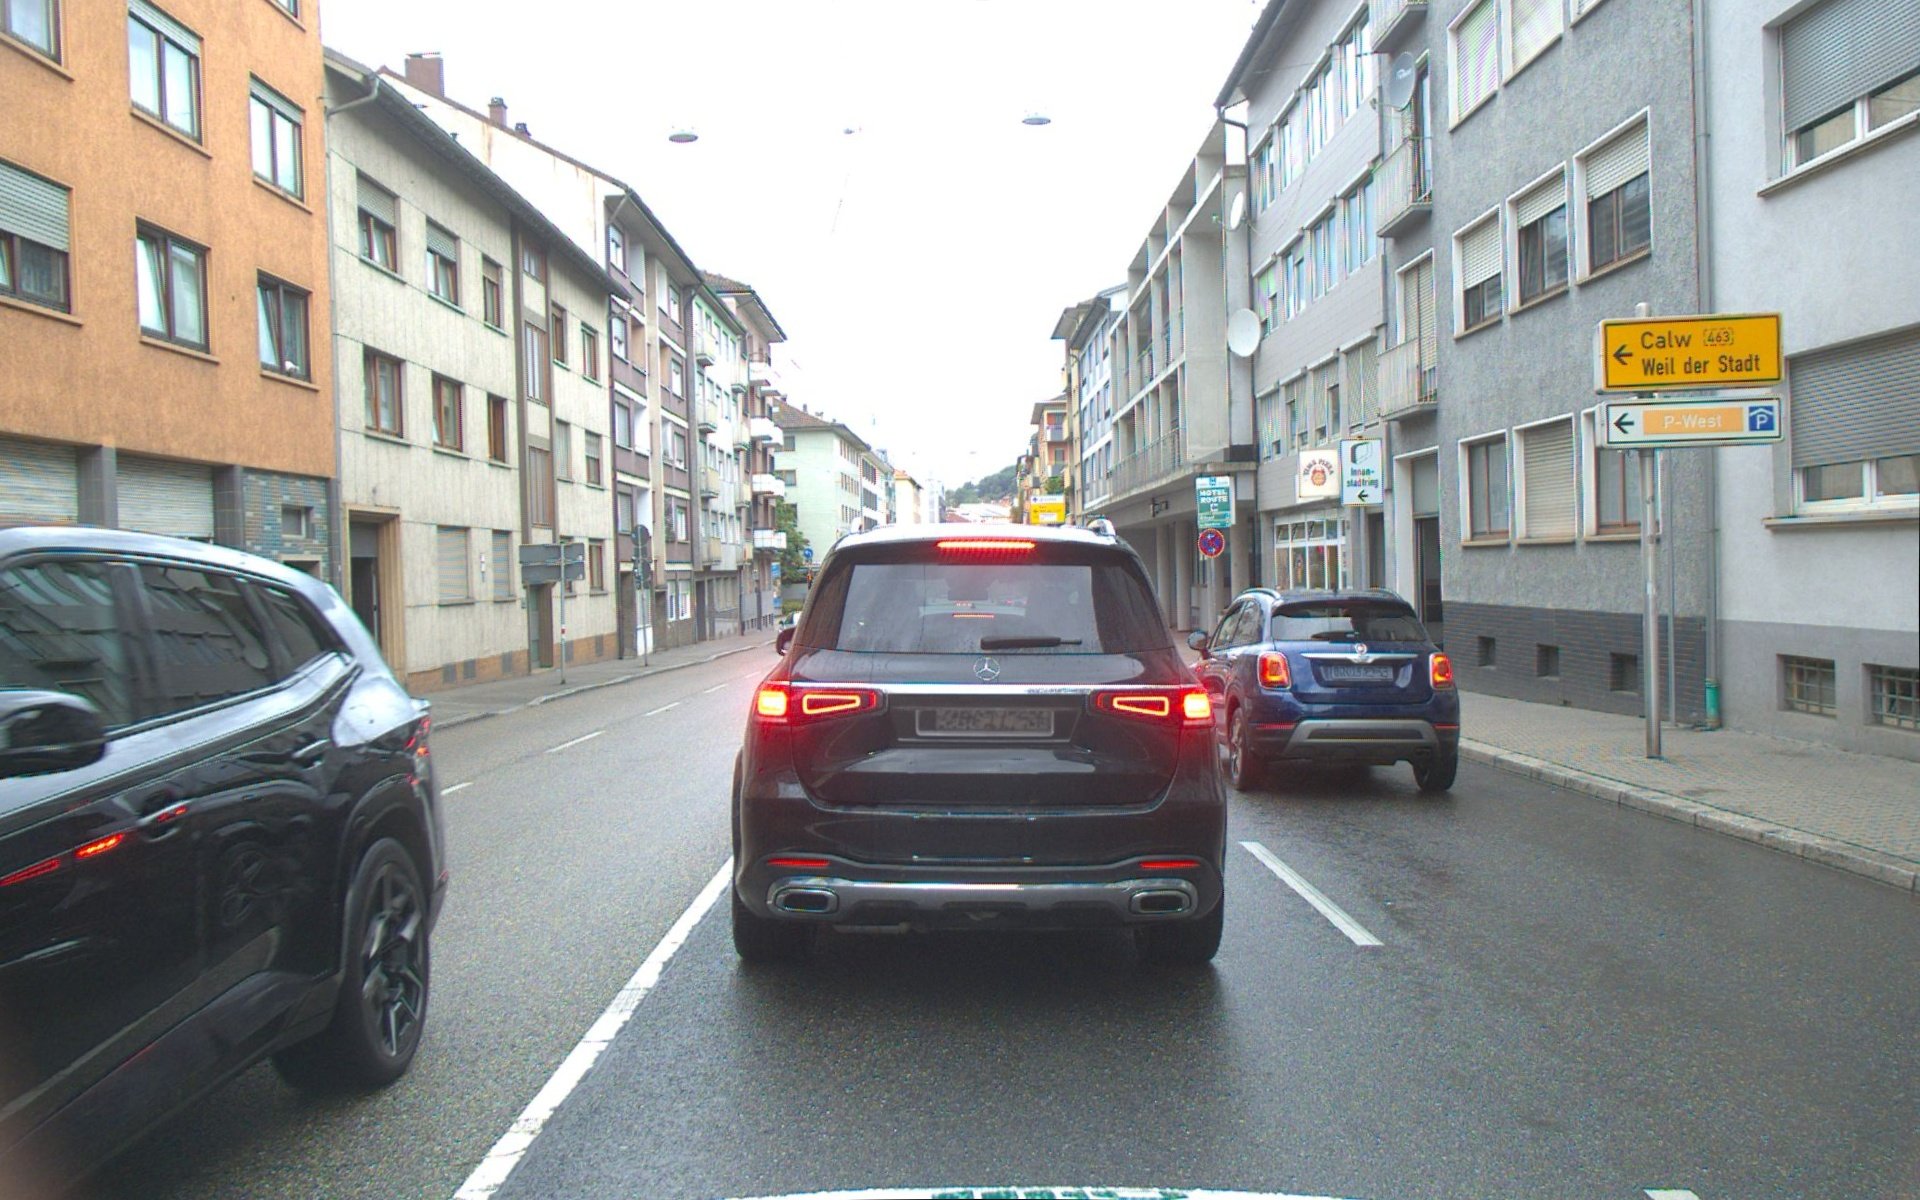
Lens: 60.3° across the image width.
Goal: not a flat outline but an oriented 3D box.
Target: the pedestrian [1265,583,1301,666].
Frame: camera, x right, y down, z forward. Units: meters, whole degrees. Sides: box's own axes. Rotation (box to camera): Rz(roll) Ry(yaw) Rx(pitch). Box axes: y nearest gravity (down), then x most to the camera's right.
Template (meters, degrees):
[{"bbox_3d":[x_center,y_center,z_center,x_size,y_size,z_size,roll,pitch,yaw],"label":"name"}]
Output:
[{"bbox_3d":[6.420,0.479,32.878,0.548,1.606,0.526,-4,0,3],"label":"pedestrian"}]

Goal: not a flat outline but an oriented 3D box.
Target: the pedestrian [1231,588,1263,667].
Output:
[{"bbox_3d":[5.713,0.544,32.943,0.495,1.526,0.563,-4,0,7],"label":"pedestrian"}]

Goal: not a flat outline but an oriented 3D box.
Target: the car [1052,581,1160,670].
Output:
[{"bbox_3d":[3.125,0.512,36.145,1.901,1.806,4.745,0,0,-1],"label":"car"}]

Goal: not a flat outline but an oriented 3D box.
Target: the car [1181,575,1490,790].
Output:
[{"bbox_3d":[3.098,0.614,14.445,1.731,1.608,3.999,0,0,-1],"label":"car"}]

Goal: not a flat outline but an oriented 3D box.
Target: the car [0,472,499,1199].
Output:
[{"bbox_3d":[-2.690,0.710,3.509,2.083,1.750,4.816,-3,0,-1],"label":"car"}]

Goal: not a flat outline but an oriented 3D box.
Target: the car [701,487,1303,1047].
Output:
[{"bbox_3d":[0.100,0.558,7.523,1.984,1.837,3.999,1,0,-1],"label":"car"}]

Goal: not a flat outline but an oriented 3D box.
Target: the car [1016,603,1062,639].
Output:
[{"bbox_3d":[3.315,0.859,69.866,1.588,1.455,4.311,1,0,-1],"label":"car"}]

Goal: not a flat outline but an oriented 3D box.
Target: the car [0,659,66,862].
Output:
[{"bbox_3d":[-7.967,1.204,10.898,1.759,1.463,4.525,1,0,-1],"label":"car"}]

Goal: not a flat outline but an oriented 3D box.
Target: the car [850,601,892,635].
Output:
[{"bbox_3d":[-4.004,0.798,75.053,1.690,1.414,4.338,-3,0,-1],"label":"car"}]

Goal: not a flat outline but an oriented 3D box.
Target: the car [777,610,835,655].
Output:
[{"bbox_3d":[-5.469,1.136,59.058,1.732,1.369,3.887,-5,0,-2],"label":"car"}]

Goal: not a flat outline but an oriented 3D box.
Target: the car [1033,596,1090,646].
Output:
[{"bbox_3d":[3.421,0.677,56.393,1.771,1.634,4.212,0,0,1],"label":"car"}]
